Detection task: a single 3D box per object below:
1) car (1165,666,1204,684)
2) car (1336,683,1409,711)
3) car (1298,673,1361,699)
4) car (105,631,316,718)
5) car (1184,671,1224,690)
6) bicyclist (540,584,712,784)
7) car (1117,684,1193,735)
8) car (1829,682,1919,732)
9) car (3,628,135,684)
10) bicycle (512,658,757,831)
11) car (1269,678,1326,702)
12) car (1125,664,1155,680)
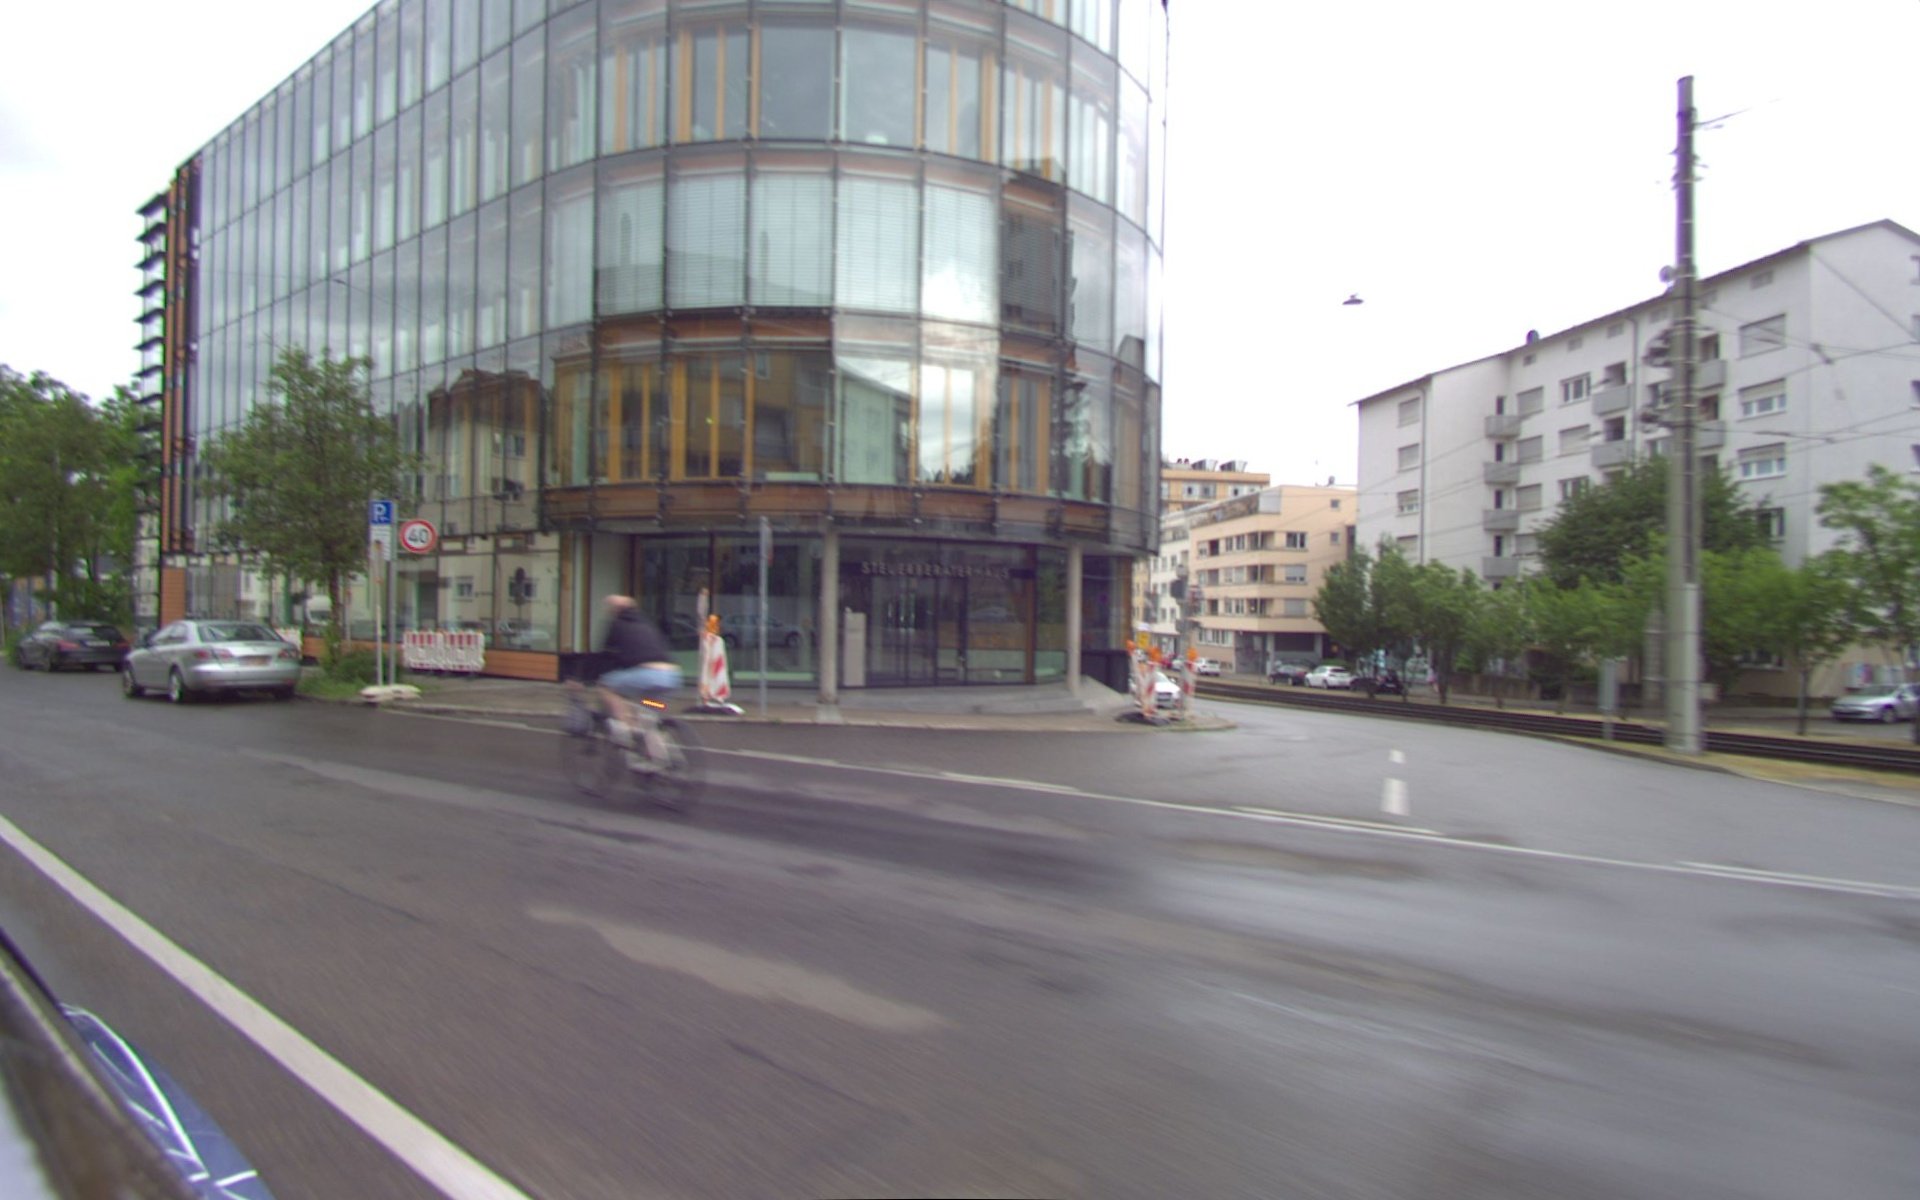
[{"bbox_3d":[20.425,6.836,92.111,1.969,1.520,4.707,-1,-5,-6],"label":"car"},{"bbox_3d":[23.735,5.582,58.372,1.969,1.520,4.317,-1,-5,-6],"label":"car"},{"bbox_3d":[23.302,5.471,64.050,1.969,1.520,4.317,-1,-5,-6],"label":"car"},{"bbox_3d":[-13.760,1.275,18.494,4.637,1.405,1.841,-2,-3,37],"label":"car"},{"bbox_3d":[20.837,6.873,86.620,1.969,1.520,4.317,-1,-5,-6],"label":"car"},{"bbox_3d":[-2.683,0.616,8.121,1.139,1.473,0.816,0,0,38],"label":"bicyclist"},{"bbox_3d":[7.444,4.175,38.995,1.889,1.507,4.003,0,0,-4],"label":"car"},{"bbox_3d":[34.627,3.903,37.068,4.126,1.574,2.004,0,0,-8],"label":"car"},{"bbox_3d":[-25.288,1.569,28.690,4.318,1.475,1.708,-1,-3,34],"label":"car"},{"bbox_3d":[-2.639,1.066,8.092,2.124,1.157,0.816,-1,-2,38],"label":"bicycle"},{"bbox_3d":[22.827,6.149,68.695,1.969,1.520,4.317,-1,-5,-6],"label":"car"},{"bbox_3d":[18.848,7.528,106.172,1.969,1.520,4.317,-1,-5,-6],"label":"car"}]
